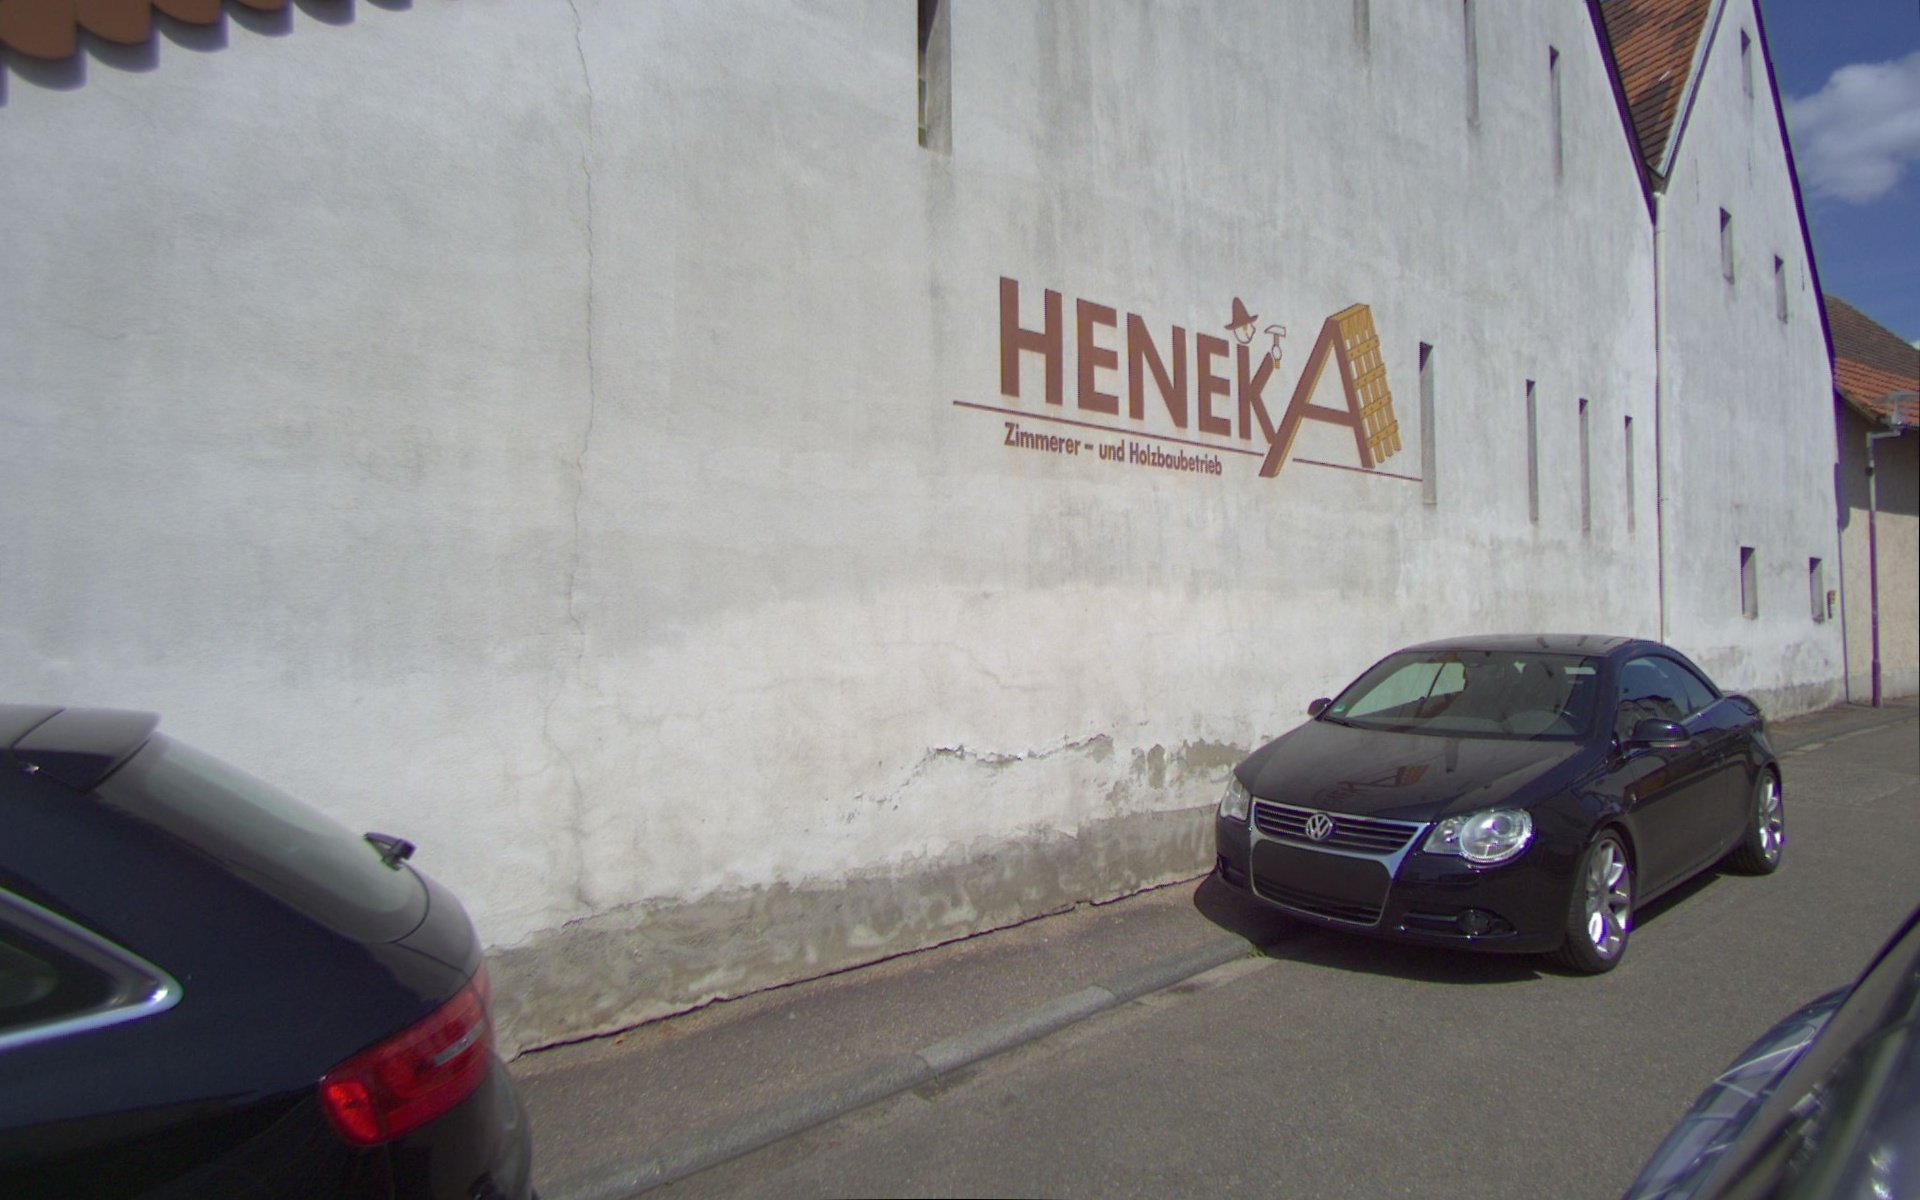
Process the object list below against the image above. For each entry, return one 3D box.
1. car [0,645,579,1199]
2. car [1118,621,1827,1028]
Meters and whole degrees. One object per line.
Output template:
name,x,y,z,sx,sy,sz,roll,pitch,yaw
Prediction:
car,-2.937,0.795,0.719,4.653,1.383,1.899,0,-2,-40
car,3.092,0.856,5.715,4.333,1.383,1.900,0,-2,-38
